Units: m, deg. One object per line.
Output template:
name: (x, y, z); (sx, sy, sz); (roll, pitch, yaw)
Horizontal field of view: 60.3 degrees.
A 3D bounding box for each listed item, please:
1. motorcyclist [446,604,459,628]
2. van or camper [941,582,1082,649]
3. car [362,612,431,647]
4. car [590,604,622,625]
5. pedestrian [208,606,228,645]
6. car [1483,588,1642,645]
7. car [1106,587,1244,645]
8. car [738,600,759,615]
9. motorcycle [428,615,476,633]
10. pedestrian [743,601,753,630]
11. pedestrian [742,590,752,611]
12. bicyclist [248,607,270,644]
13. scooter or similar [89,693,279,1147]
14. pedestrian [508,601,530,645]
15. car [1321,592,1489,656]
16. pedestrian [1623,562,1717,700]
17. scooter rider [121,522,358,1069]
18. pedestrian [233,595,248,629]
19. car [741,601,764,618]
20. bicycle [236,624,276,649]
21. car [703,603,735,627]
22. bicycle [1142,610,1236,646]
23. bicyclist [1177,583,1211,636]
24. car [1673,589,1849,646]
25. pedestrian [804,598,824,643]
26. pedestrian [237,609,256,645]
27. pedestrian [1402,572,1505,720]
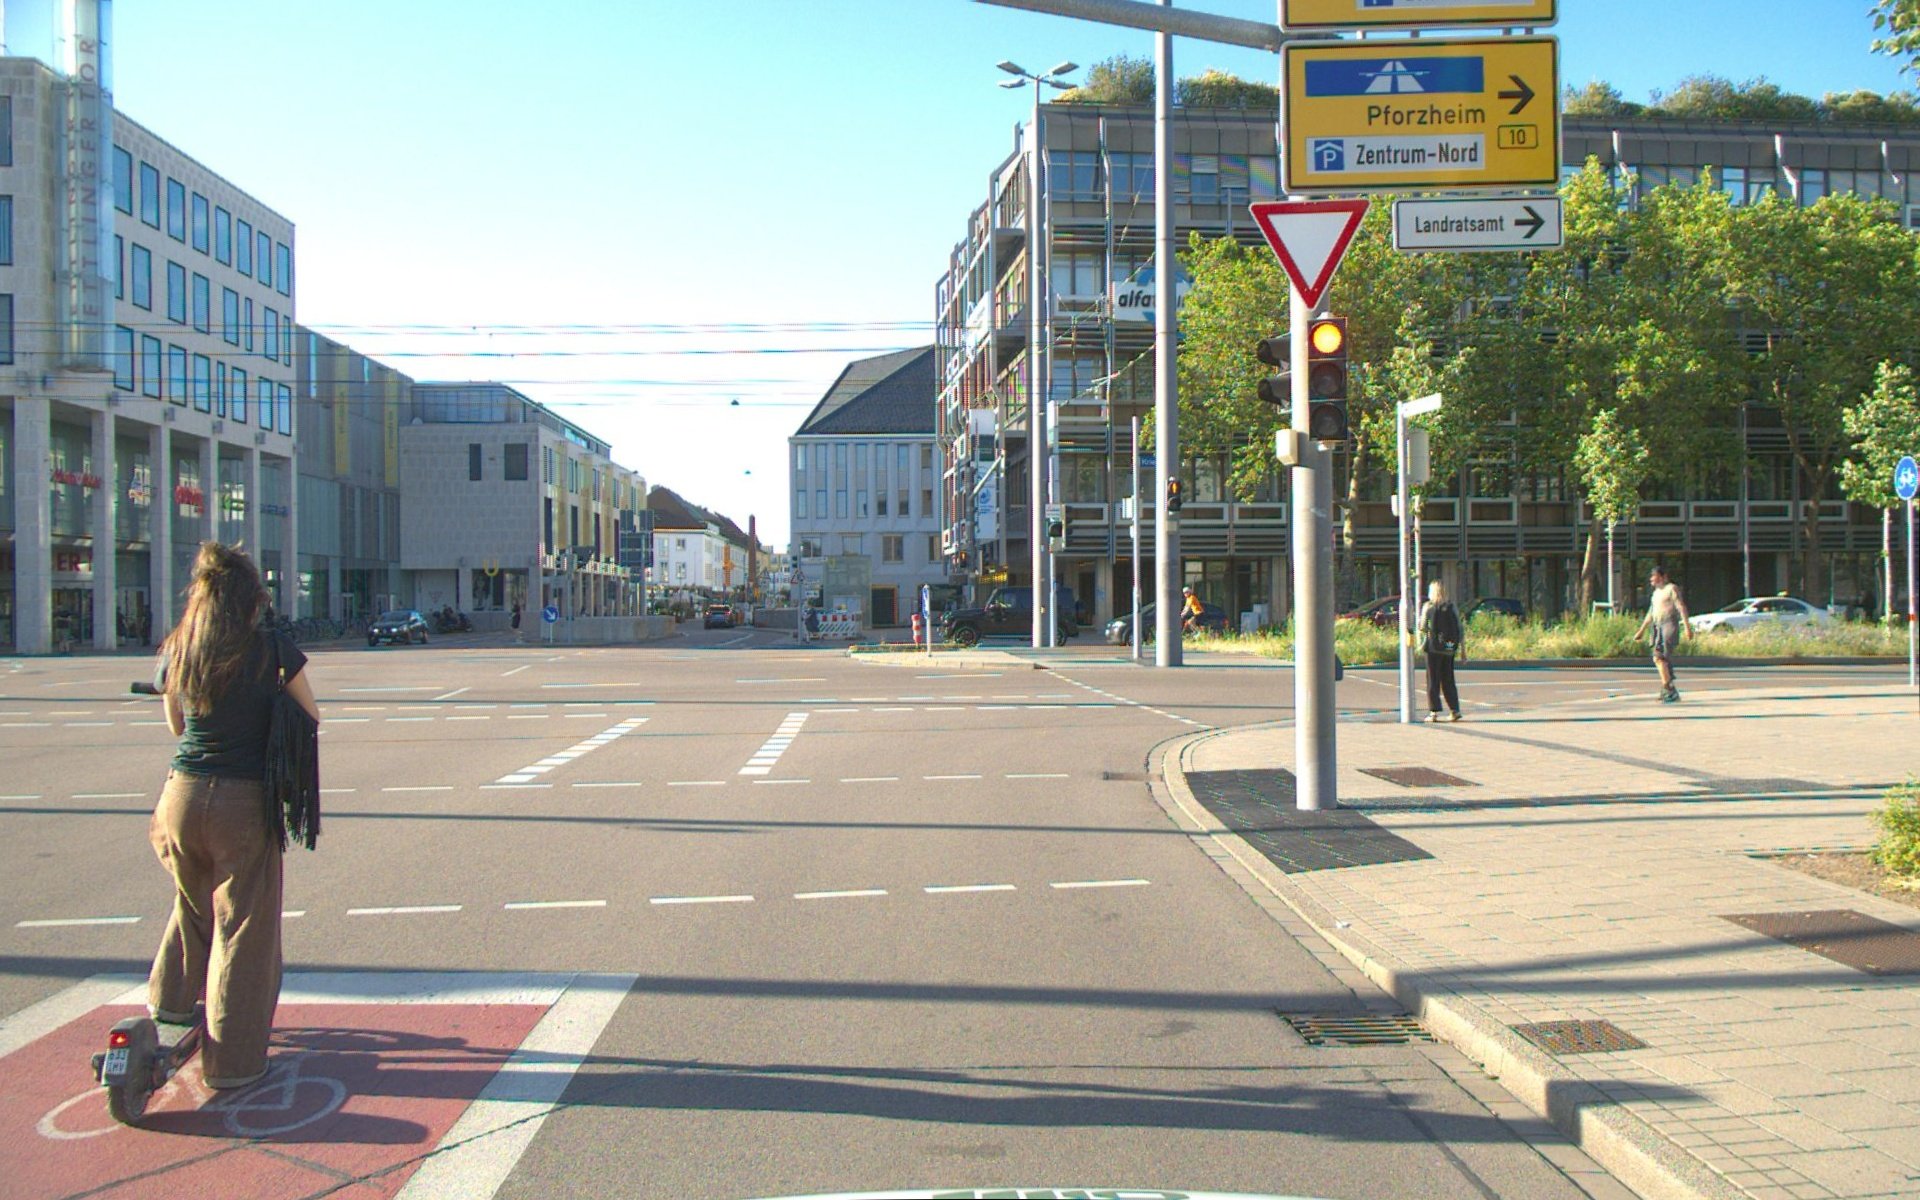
motorcyclist: (-30.065, 0.956, 97.904); (0.616, 1.430, 0.661); (1, -1, -9)
van or camper: (1.631, 0.480, 53.295); (4.329, 2.049, 1.993); (-1, 0, -5)
car: (-23.595, 1.214, 69.395); (1.642, 1.381, 4.019); (-1, 0, -2)
car: (-26.046, 1.023, 121.707); (1.625, 1.484, 3.541); (-1, 0, -1)
pedestrian: (-32.402, 1.113, 72.245); (0.580, 1.674, 0.629); (-1, 0, -1)
car: (18.866, 0.510, 51.895); (4.317, 1.713, 1.824); (-1, 0, -4)
car: (6.477, 0.473, 50.170); (3.907, 1.713, 1.761); (-1, 0, -2)
car: (-21.169, 0.766, 165.755); (1.625, 1.484, 3.541); (-1, 0, -1)
motorcycle: (-29.994, 1.391, 97.657); (2.555, 1.010, 1.113); (1, 0, -10)
pedestrian: (-12.453, 0.884, 97.279); (0.481, 1.693, 0.529); (1, -1, -15)
pedestrian: (-21.141, 0.047, 164.352); (0.892, 1.999, 0.822); (1, -1, -1)
bicyclist: (-27.690, 1.002, 65.320); (0.613, 1.473, 0.589); (-1, 0, 0)
scooter or similar: (-2.203, 0.858, 4.750); (0.301, 1.127, 0.836); (-1, 0, -12)
pedestrian: (-16.854, 0.874, 63.214); (0.763, 1.667, 0.624); (-1, 0, -14)
car: (12.525, 0.646, 46.621); (4.212, 1.713, 1.820); (-1, 0, -11)
pedestrian: (9.152, 0.386, 21.340); (0.854, 1.736, 0.768); (-1, 0, -3)
scooter rider: (-2.151, 0.554, 4.981); (0.542, 1.556, 0.448); (-1, 0, -9)
pedestrian: (-36.850, 0.617, 84.708); (0.462, 1.759, 0.518); (0, -1, 38)
car: (-18.296, 0.842, 145.924); (1.625, 1.484, 3.541); (-1, 0, -1)
bicycle: (-27.674, 1.412, 65.041); (0.622, 0.919, 2.218); (-1, 0, 0)
car: (-15.691, 0.961, 107.814); (1.625, 1.484, 3.541); (-1, 0, -1)
bicycle: (6.523, 0.796, 47.192); (2.517, 0.992, 1.047); (-1, 0, -4)
bicyclist: (6.679, 0.277, 47.212); (0.806, 1.500, 0.652); (-1, 0, -5)
car: (25.366, 0.543, 52.471); (4.749, 1.713, 1.824); (-1, 0, -4)
pedestrian: (-5.644, 0.782, 63.969); (0.685, 1.718, 0.619); (-1, 0, 0)
pedestrian: (-35.381, 1.325, 81.996); (0.462, 1.759, 0.692); (0, -1, 37)
pedestrian: (5.654, 0.509, 18.976); (0.755, 1.642, 0.868); (-1, 0, -24)
